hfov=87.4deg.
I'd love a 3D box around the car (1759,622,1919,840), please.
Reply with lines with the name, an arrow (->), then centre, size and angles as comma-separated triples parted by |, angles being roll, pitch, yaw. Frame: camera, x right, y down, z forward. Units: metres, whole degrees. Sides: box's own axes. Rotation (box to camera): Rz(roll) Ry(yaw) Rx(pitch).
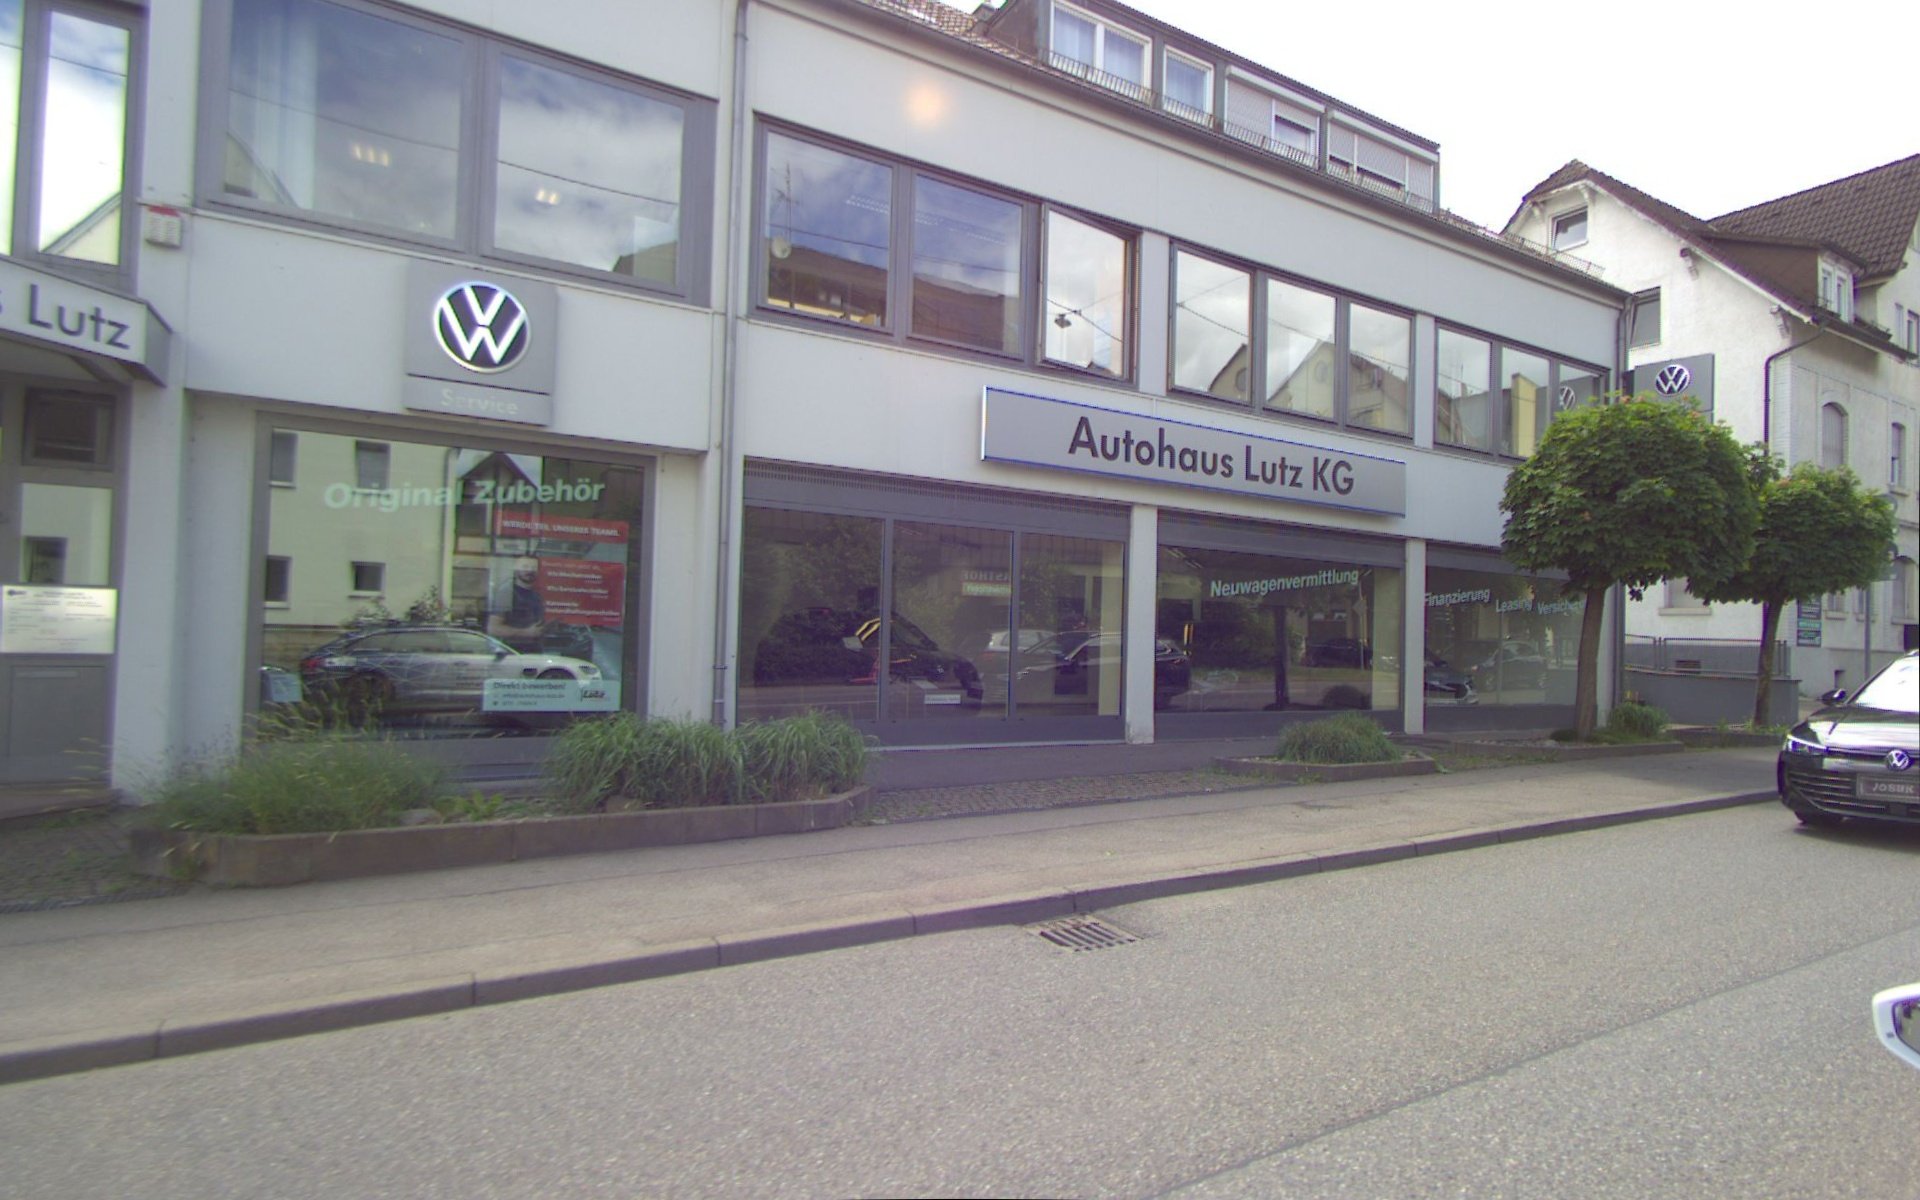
car -> 8.683, 1.024, 8.348 | 4.411, 1.543, 1.767 | 3, -4, -31

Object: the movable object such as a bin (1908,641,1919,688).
movable object such as a bin -> 23.565, 1.579, 24.429 | 0.557, 1.116, 0.561 | 3, 1, -34
